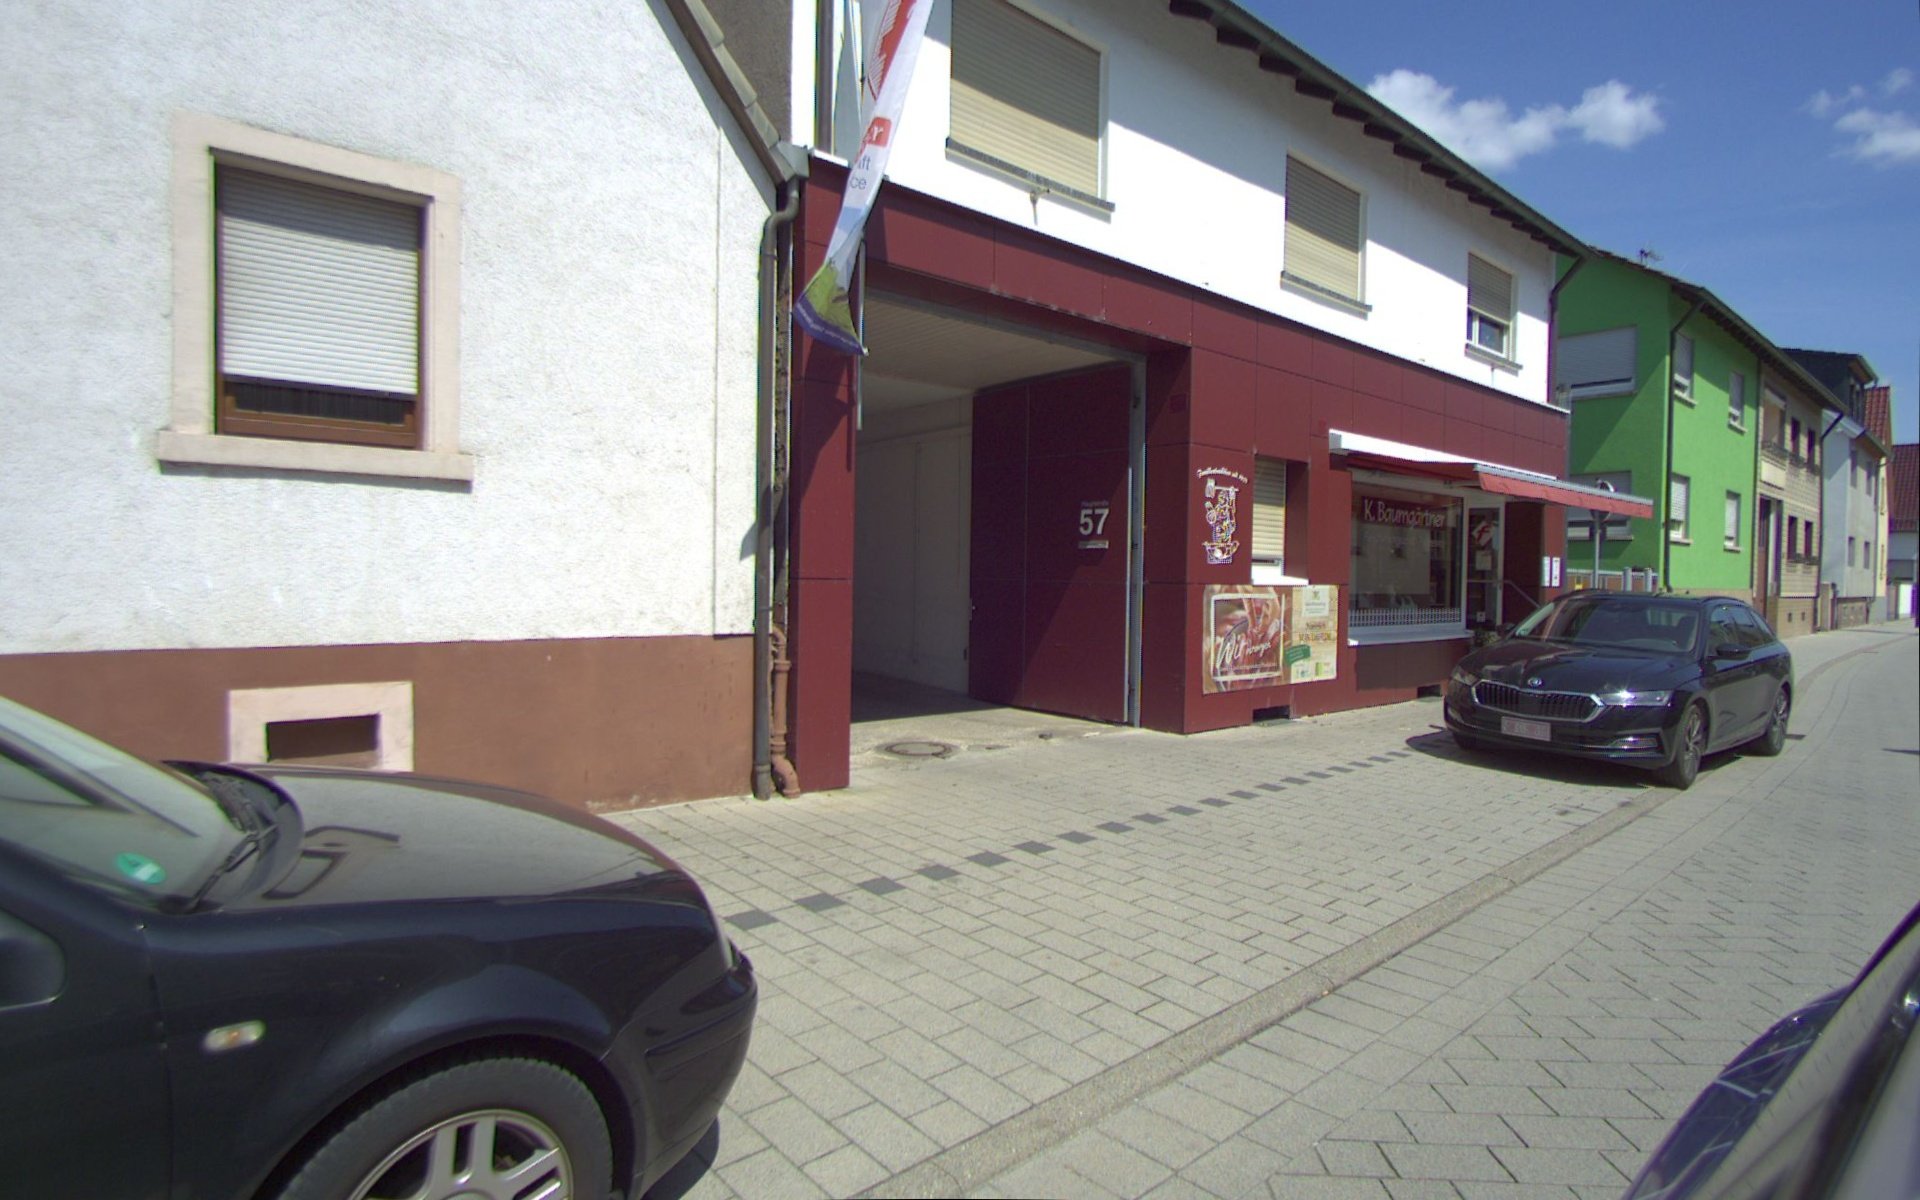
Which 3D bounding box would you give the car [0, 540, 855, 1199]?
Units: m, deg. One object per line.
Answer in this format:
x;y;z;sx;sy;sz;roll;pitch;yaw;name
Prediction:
-2.336;0.621;1.583;4.048;1.456;1.763;-1;3;-42;car

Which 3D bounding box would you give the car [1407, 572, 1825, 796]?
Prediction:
6.079;0.541;9.160;4.504;1.476;1.863;-1;4;-40;car
